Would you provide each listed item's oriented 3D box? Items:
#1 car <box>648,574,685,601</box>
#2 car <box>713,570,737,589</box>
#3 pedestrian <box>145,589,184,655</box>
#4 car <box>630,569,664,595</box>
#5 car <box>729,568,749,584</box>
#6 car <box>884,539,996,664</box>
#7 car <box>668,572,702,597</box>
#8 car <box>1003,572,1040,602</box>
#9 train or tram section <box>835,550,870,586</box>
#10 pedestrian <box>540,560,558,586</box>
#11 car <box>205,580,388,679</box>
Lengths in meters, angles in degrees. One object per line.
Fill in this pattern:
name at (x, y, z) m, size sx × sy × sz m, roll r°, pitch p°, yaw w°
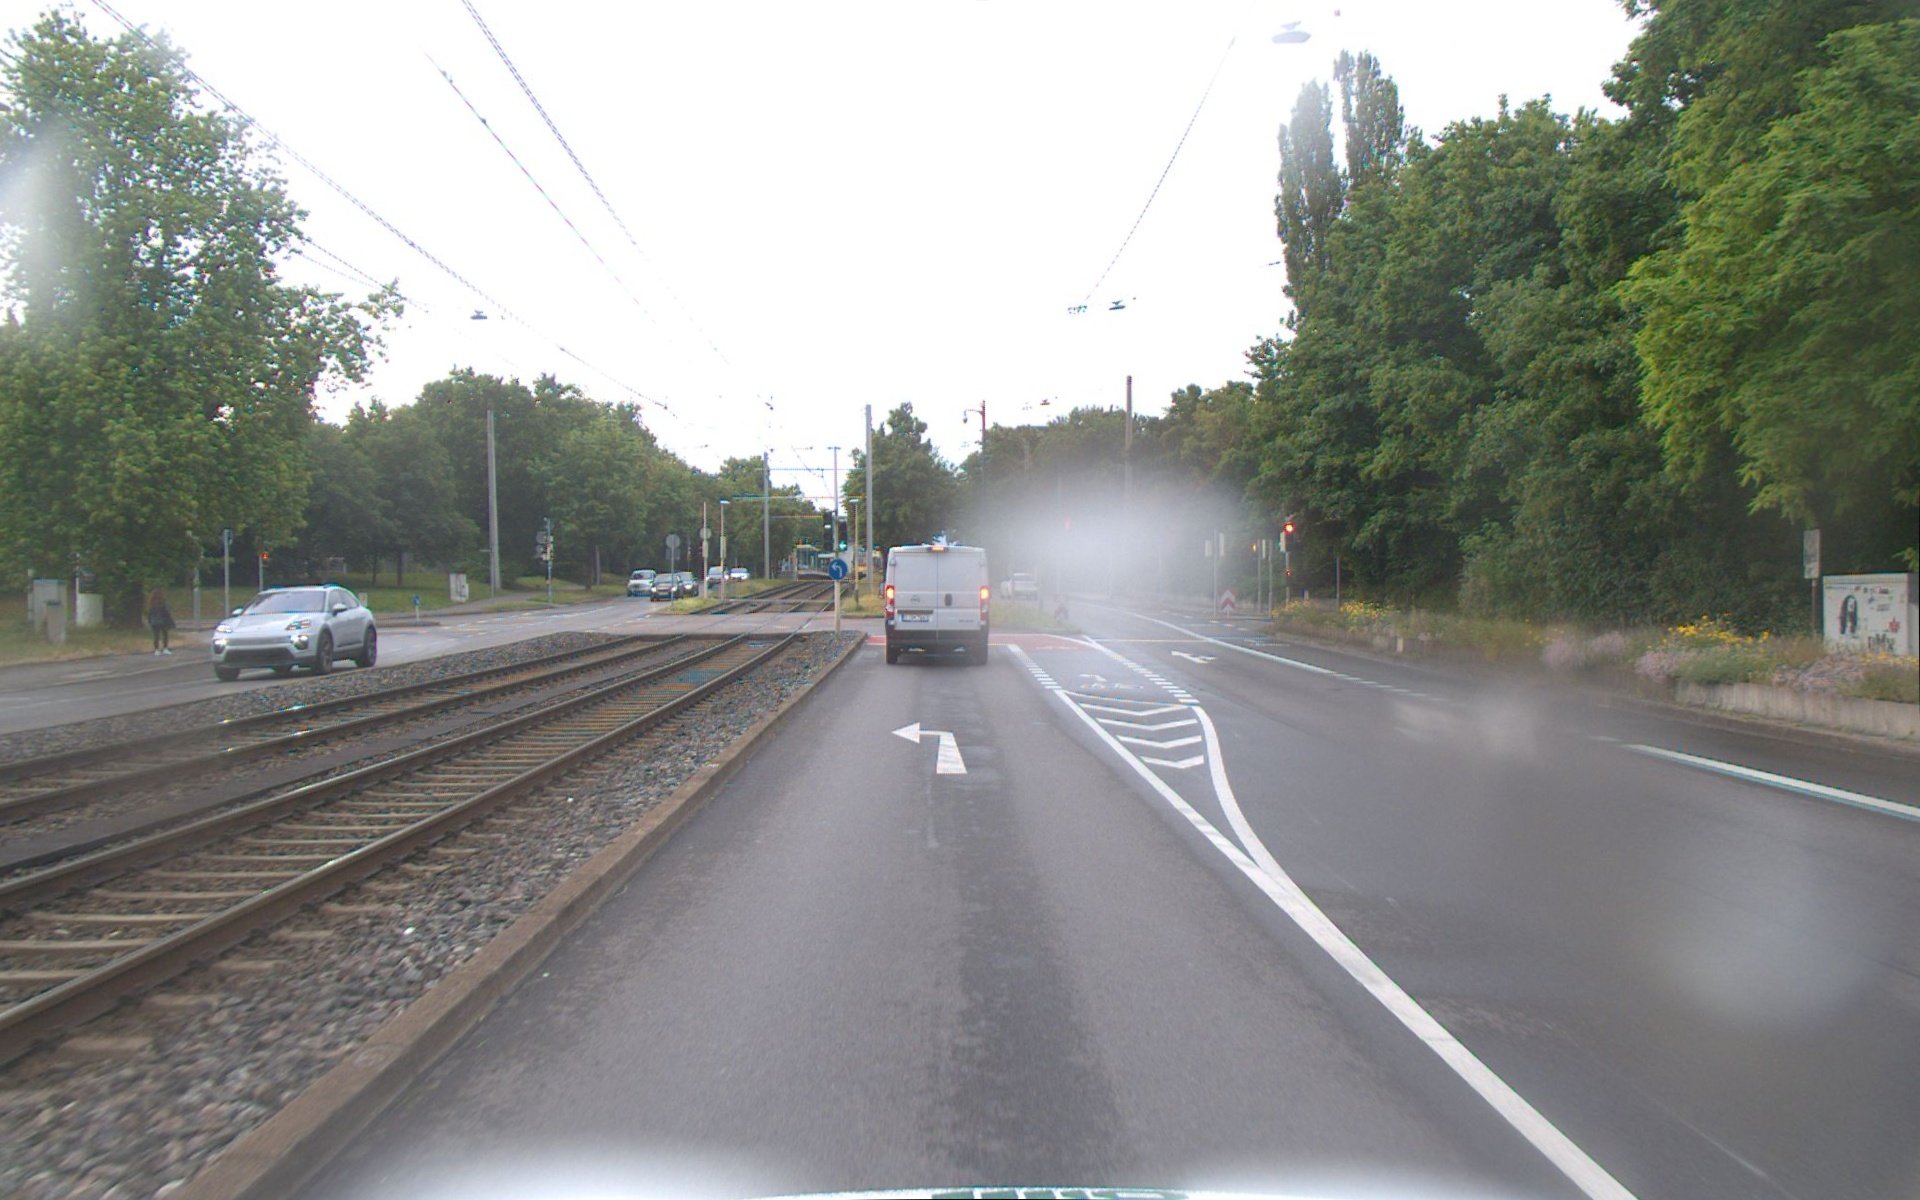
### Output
car at (-16.407, -0.728, 92.639) m, size 1.569 × 1.426 × 3.790 m, roll 1°, pitch 2°, yaw -3°
car at (-18.396, -1.611, 129.445) m, size 1.569 × 1.426 × 3.790 m, roll 1°, pitch 2°, yaw -3°
pedestrian at (-18.967, 0.527, 39.449) m, size 0.579 × 1.559 × 0.668 m, roll 1°, pitch -2°, yaw -2°
car at (-20.192, -1.151, 106.755) m, size 1.685 × 1.581 × 3.861 m, roll -1°, pitch 2°, yaw -4°
car at (-20.502, -2.213, 153.556) m, size 1.569 × 1.426 × 3.790 m, roll 1°, pitch 2°, yaw -3°
car at (-0.374, 0.021, 33.688) m, size 2.102 × 2.323 × 5.062 m, roll 1°, pitch 0°, yaw 0°
car at (-16.667, -0.932, 100.361) m, size 1.569 × 1.426 × 3.790 m, roll 1°, pitch 2°, yaw -3°
car at (3.339, -0.732, 90.548) m, size 1.669 × 1.548 × 3.790 m, roll 1°, pitch 1°, yaw -3°
train or tram section at (-13.914, -4.083, 214.690) m, size 3.978 × 3.963 × 15.031 m, roll 1°, pitch -1°, yaw -2°
pedestrian at (-26.450, -1.729, 106.492) m, size 0.994 × 1.628 × 1.038 m, roll 0°, pitch 1°, yaw -8°
car at (-12.574, 0.505, 31.683) m, size 1.955 × 1.678 × 4.754 m, roll -2°, pitch 1°, yaw -6°
